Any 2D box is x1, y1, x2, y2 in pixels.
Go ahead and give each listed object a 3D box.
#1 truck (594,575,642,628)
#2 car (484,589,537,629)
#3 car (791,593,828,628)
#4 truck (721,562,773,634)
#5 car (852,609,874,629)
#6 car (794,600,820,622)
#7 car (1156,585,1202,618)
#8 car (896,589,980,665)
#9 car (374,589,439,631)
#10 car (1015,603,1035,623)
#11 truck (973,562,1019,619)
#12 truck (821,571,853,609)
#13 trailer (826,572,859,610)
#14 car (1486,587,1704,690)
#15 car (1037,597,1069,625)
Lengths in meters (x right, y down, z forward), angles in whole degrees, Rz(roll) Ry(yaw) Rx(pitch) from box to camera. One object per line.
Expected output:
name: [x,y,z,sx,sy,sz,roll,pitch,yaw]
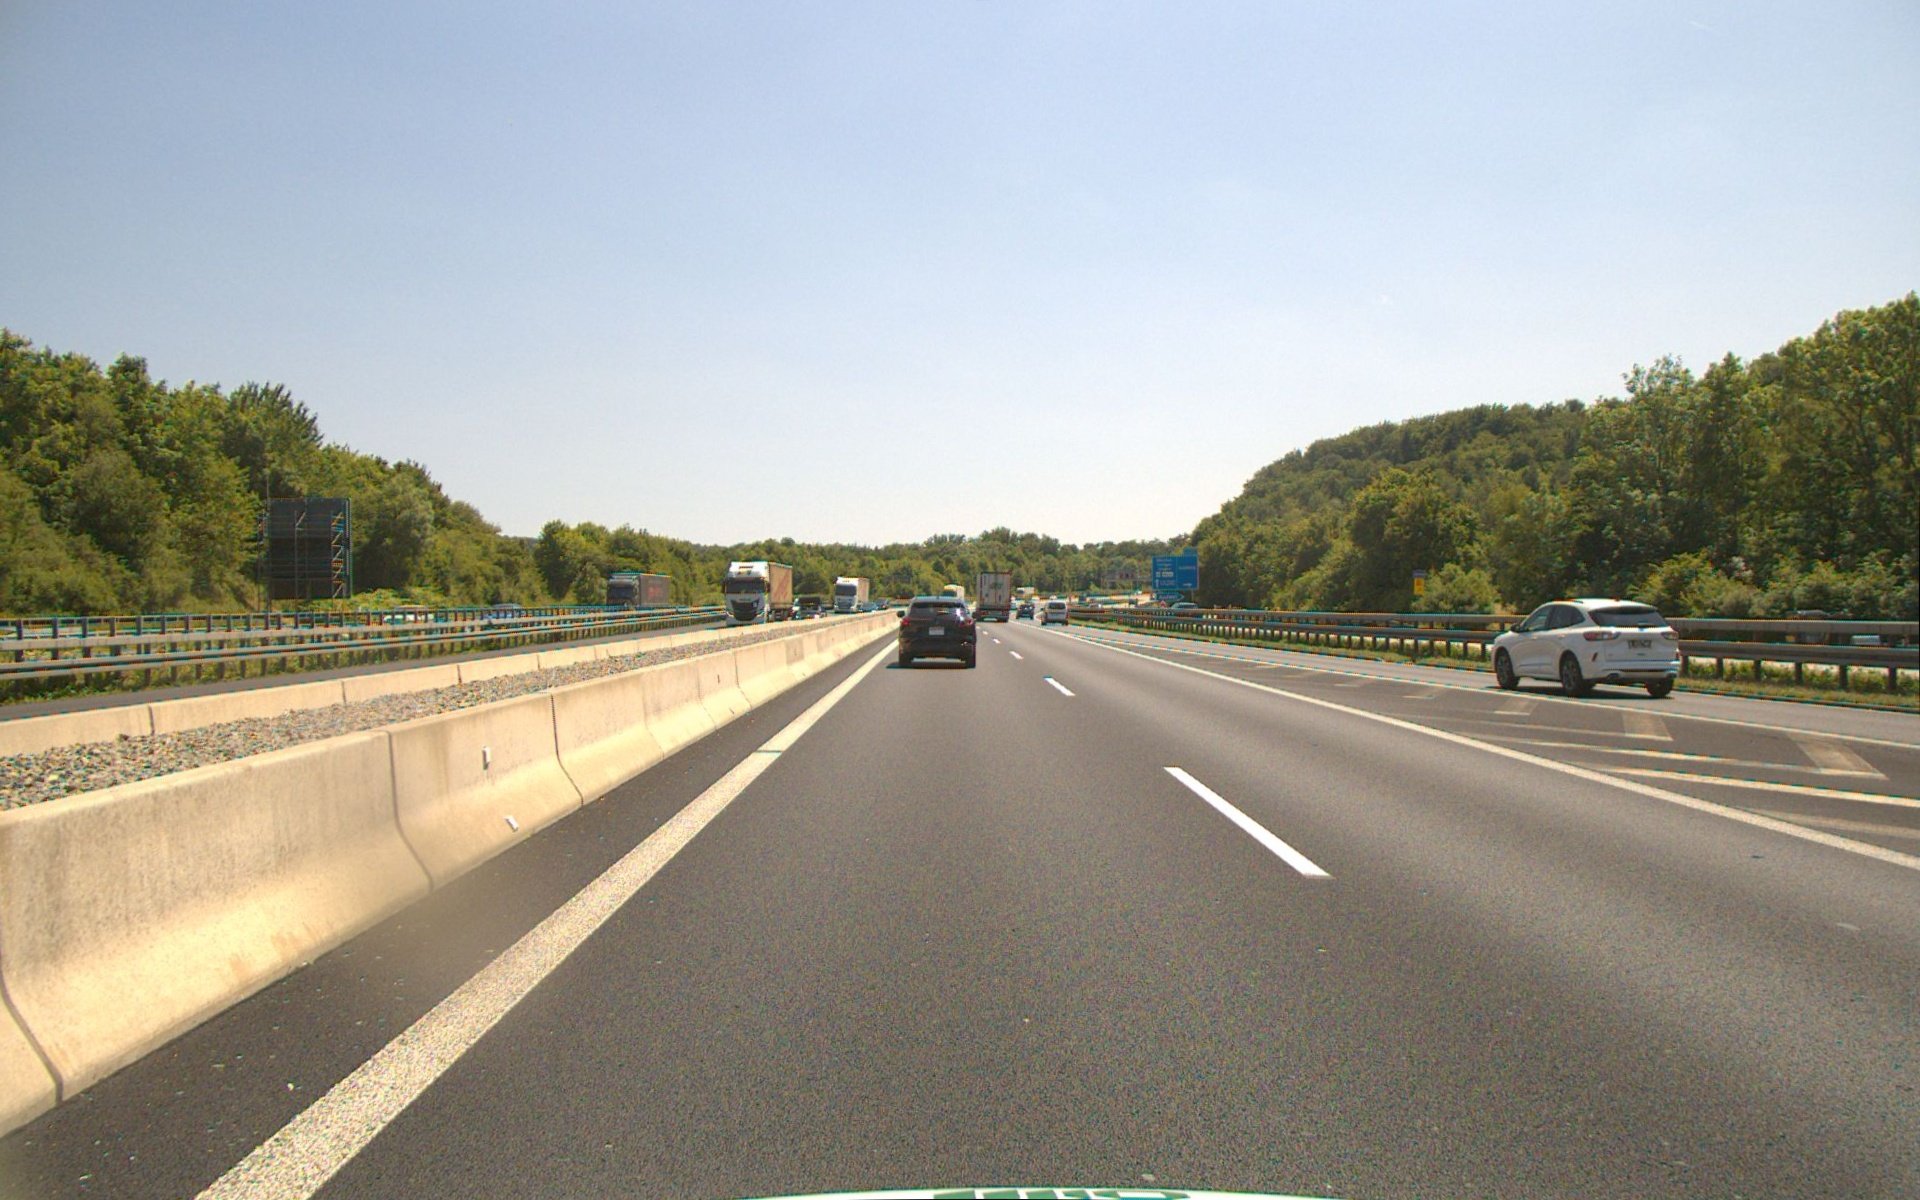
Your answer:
truck: [-28.910,0.180,139.951,2.752,4.347,4.999,1,-1,1]
car: [-24.185,0.500,89.055,1.954,2.049,3.997,1,-1,-4]
car: [-9.335,0.629,102.945,1.879,2.049,5.345,-1,0,-1]
truck: [-13.222,-0.113,102.971,2.651,4.363,4.552,1,-1,-1]
car: [-9.465,1.837,161.486,1.944,1.858,4.824,1,0,-2]
car: [-12.928,0.941,140.015,1.706,1.858,4.903,1,0,1]
car: [14.076,0.091,106.453,1.956,2.049,3.994,-2,0,-7]
car: [-0.573,0.619,38.894,1.744,1.605,3.997,3,-1,-3]
car: [-28.041,0.499,83.919,1.953,2.049,4.000,1,-1,0]
car: [6.896,1.412,175.512,1.953,2.049,3.999,1,-1,0]
truck: [3.142,-0.720,139.699,2.968,4.496,12.025,1,-1,5]
truck: [-13.537,-1.092,182.608,2.868,4.042,5.898,1,-1,1]
trailer: [-13.498,-0.967,191.052,2.850,4.116,12.061,1,0,0]
car: [11.372,0.665,30.003,1.954,1.691,4.463,1,0,-4]
car: [6.901,0.813,123.600,1.954,2.049,3.998,-2,0,-2]
